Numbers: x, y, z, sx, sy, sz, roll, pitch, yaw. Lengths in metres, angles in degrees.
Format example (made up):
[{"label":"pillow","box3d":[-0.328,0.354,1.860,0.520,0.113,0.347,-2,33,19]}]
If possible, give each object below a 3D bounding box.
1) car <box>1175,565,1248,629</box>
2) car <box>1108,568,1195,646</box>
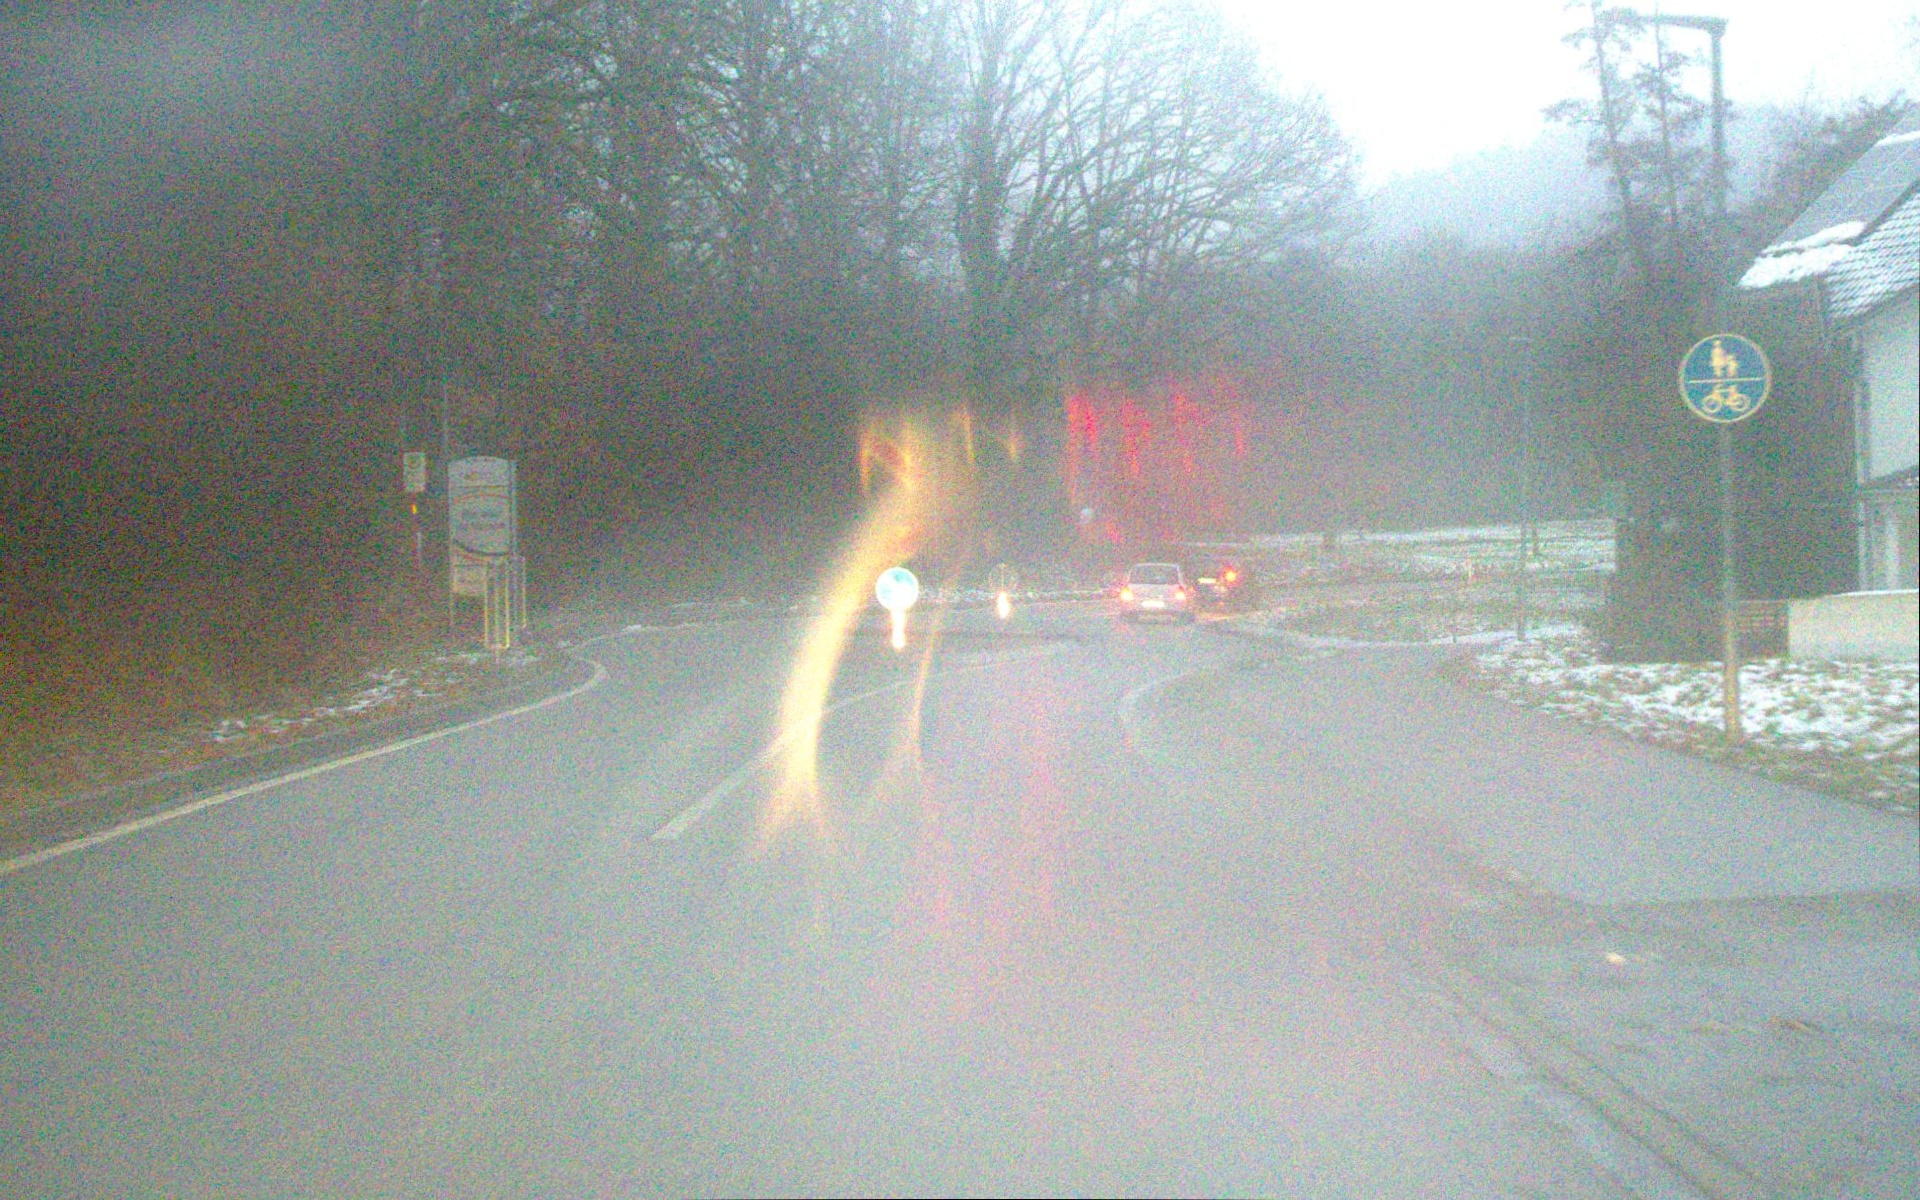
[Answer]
[{"label":"car","box3d":[6.908,-0.105,94.029,1.933,1.670,3.999,0,1,5]},{"label":"car","box3d":[4.572,0.148,81.762,1.933,1.775,3.999,0,1,5]}]
